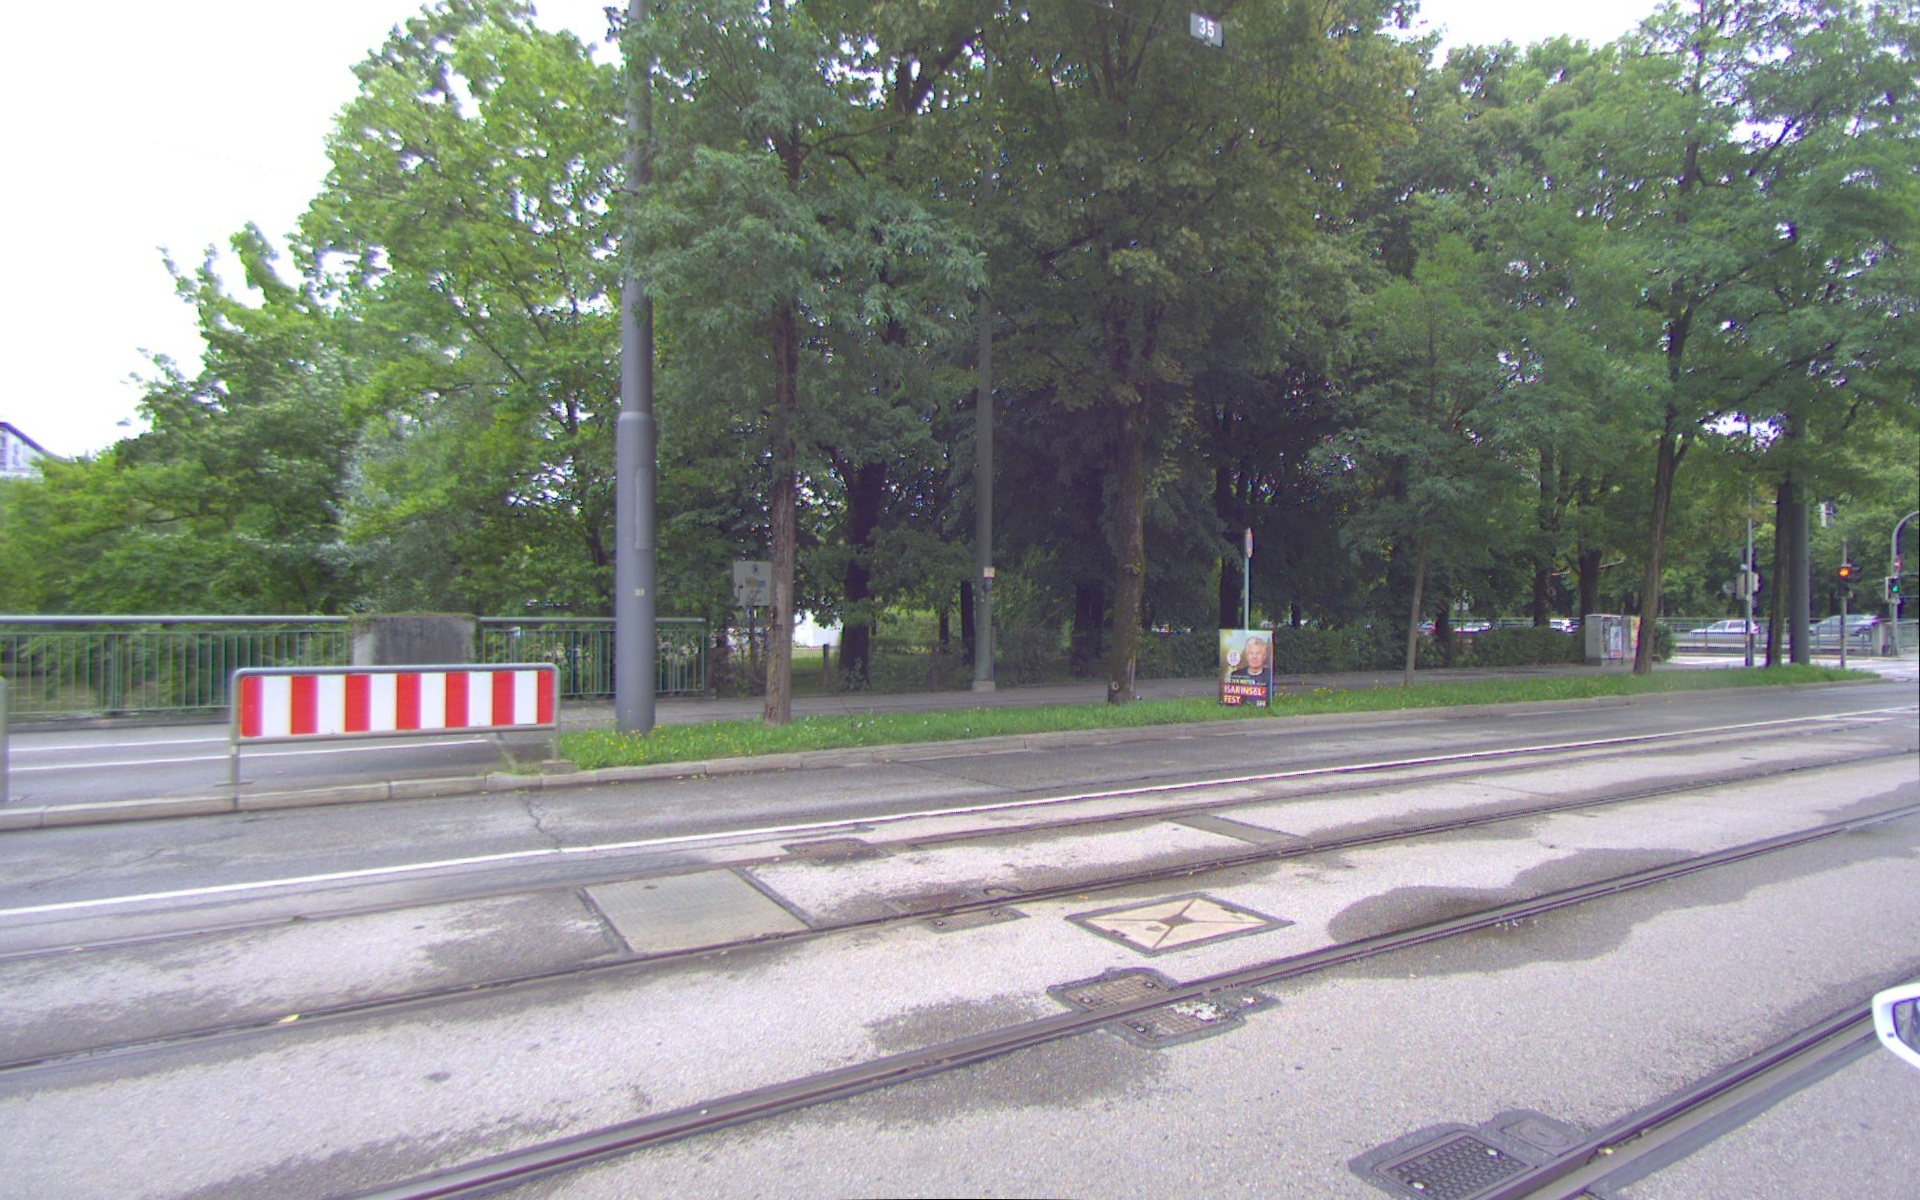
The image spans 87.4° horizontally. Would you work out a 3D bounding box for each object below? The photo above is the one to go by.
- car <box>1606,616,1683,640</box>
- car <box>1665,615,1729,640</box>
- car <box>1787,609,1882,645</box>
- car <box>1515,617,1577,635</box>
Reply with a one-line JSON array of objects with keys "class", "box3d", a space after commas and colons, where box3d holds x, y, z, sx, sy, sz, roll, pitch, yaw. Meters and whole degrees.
[{"class": "car", "box3d": [46.007, 1.847, 67.583, 1.703, 1.423, 3.900, 1, 0, -34]}, {"class": "car", "box3d": [47.534, 1.739, 64.858, 1.238, 1.471, 3.090, 1, 1, -34]}, {"class": "car", "box3d": [51.534, 1.573, 59.271, 1.476, 1.912, 3.994, 1, 1, -36]}, {"class": "car", "box3d": [42.534, 1.869, 73.004, 1.238, 1.201, 3.704, 1, 0, -34]}]
